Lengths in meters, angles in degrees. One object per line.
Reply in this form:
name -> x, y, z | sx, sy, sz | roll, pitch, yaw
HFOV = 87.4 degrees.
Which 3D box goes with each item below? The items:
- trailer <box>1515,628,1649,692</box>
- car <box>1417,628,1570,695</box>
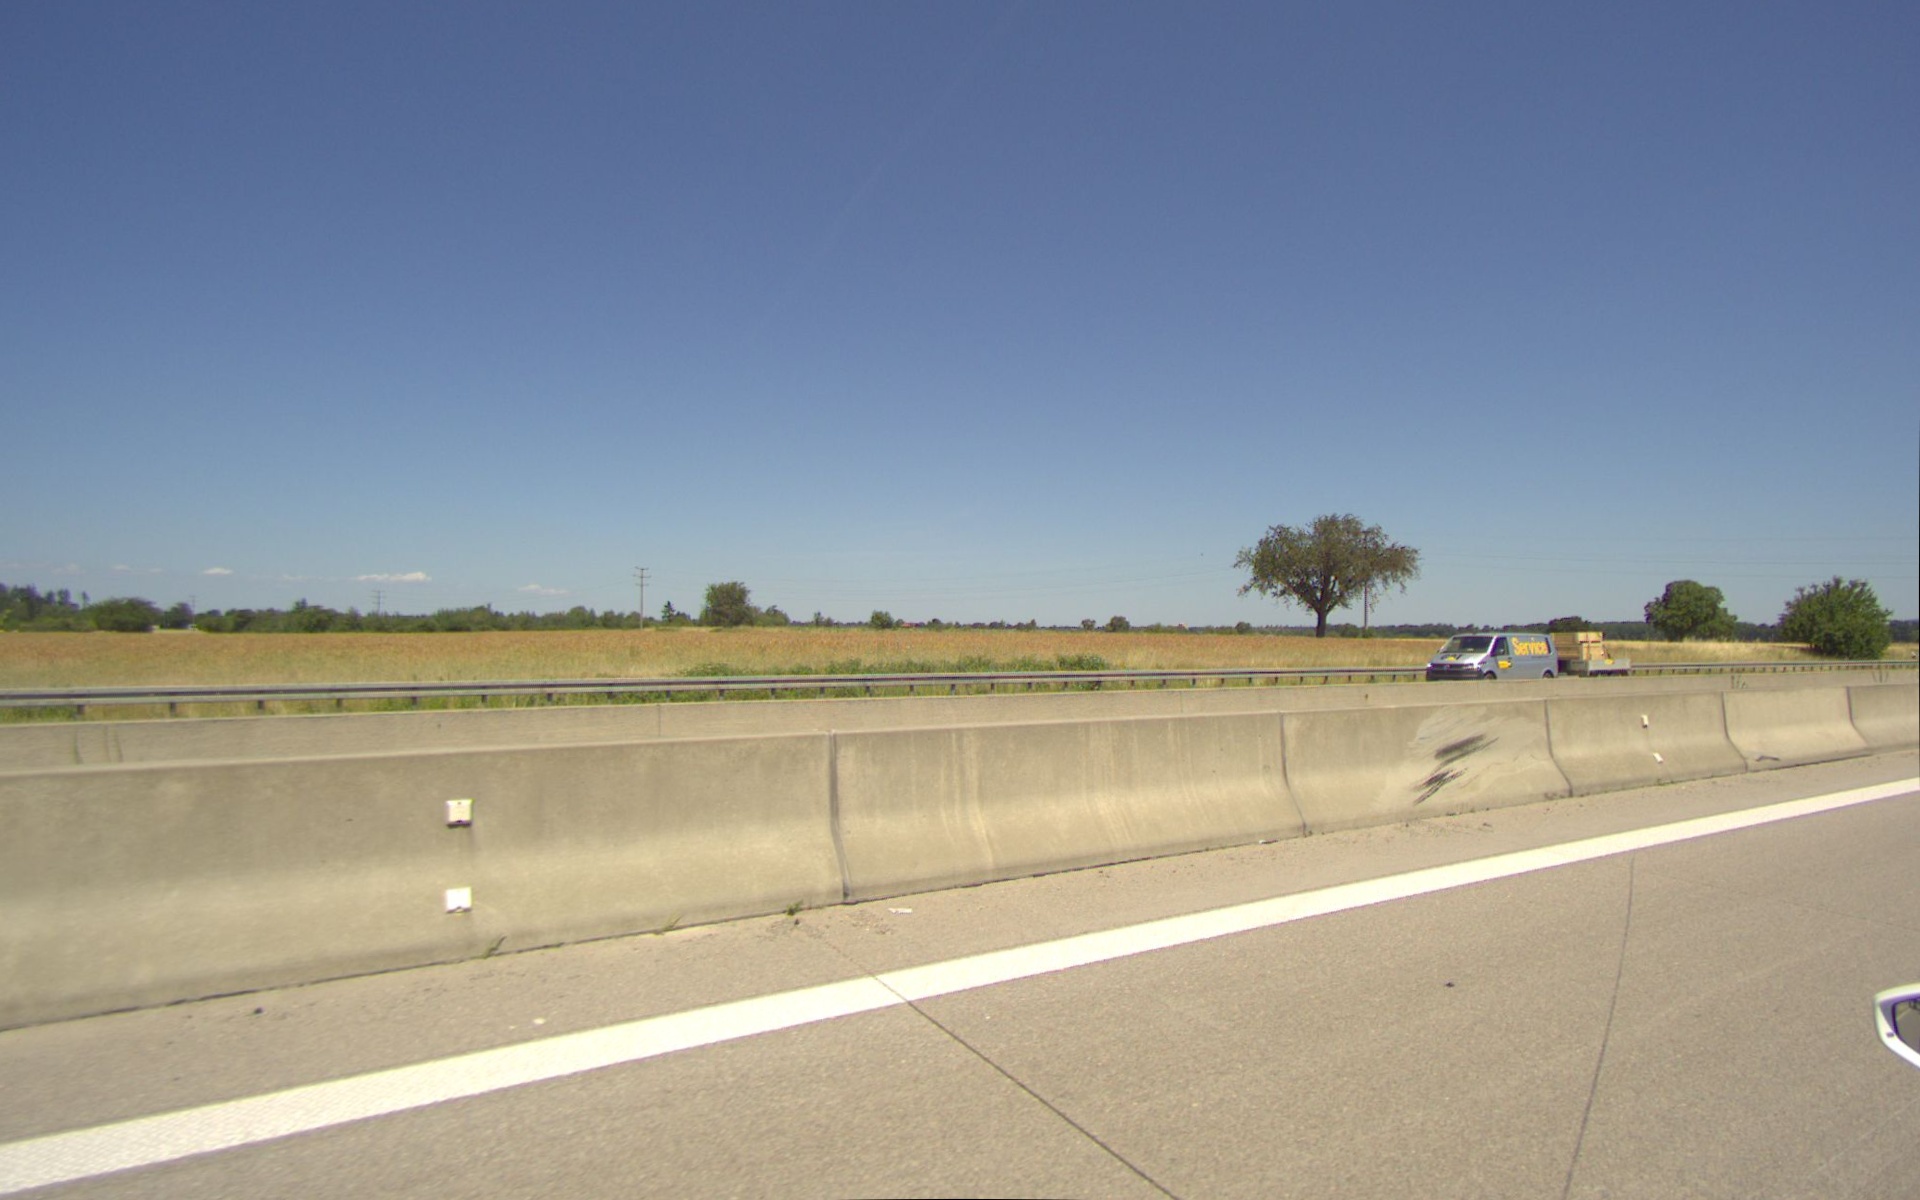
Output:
trailer -> 22.109, 2.075, 35.631 | 5.552, 2.069, 1.799 | 2, 0, -32
car -> 17.417, 1.969, 32.720 | 5.503, 1.970, 1.855 | 2, 0, -32
